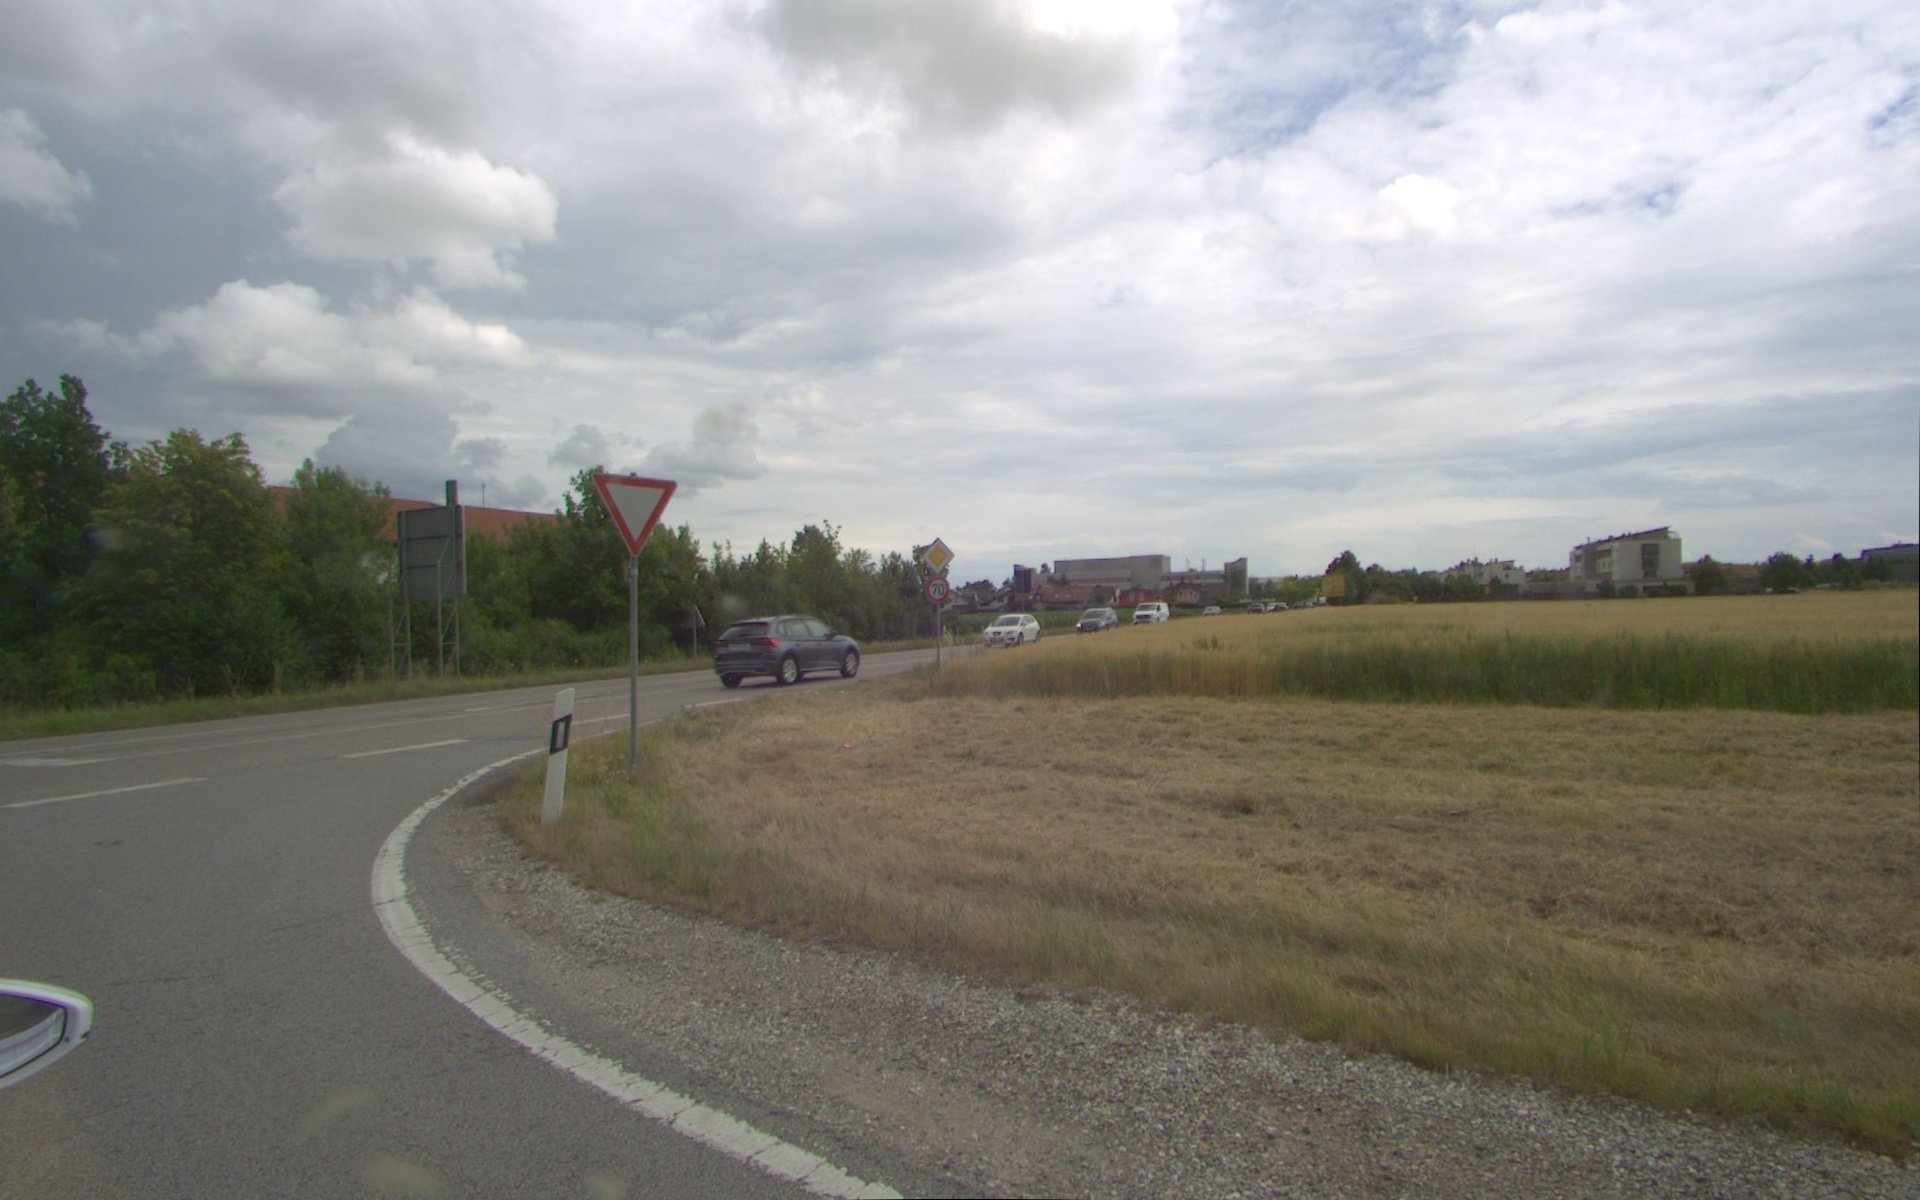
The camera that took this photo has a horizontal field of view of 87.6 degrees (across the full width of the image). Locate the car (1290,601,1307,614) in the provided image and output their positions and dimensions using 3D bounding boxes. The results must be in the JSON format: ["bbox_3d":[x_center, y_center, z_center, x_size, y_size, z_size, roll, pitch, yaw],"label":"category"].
[{"bbox_3d":[53.780,1.145,159.260,2.086,2.040,4.724,-1,0,24],"label":"car"}]

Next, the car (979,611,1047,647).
[{"bbox_3d":[2.518,1.325,46.508,1.790,1.426,4.300,-3,0,22],"label":"car"}]

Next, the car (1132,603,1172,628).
[{"bbox_3d":[15.780,1.249,82.199,2.078,1.910,5.374,-2,-1,23],"label":"car"}]

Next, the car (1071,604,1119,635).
[{"bbox_3d":[8.203,1.165,60.467,1.725,1.679,4.278,-3,-1,23],"label":"car"}]

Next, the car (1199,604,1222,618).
[{"bbox_3d":[27.452,1.199,109.729,1.651,1.420,4.076,-3,-1,24],"label":"car"}]

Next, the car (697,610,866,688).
[{"bbox_3d":[-4.010,1.066,23.194,1.835,1.586,3.985,-2,0,26],"label":"car"}]

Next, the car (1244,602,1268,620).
[{"bbox_3d":[31.749,1.180,107.252,1.835,1.750,3.985,-1,0,26],"label":"car"}]

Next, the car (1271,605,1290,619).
[{"bbox_3d":[42.705,1.551,133.320,1.835,1.750,3.985,-1,0,26],"label":"car"}]
